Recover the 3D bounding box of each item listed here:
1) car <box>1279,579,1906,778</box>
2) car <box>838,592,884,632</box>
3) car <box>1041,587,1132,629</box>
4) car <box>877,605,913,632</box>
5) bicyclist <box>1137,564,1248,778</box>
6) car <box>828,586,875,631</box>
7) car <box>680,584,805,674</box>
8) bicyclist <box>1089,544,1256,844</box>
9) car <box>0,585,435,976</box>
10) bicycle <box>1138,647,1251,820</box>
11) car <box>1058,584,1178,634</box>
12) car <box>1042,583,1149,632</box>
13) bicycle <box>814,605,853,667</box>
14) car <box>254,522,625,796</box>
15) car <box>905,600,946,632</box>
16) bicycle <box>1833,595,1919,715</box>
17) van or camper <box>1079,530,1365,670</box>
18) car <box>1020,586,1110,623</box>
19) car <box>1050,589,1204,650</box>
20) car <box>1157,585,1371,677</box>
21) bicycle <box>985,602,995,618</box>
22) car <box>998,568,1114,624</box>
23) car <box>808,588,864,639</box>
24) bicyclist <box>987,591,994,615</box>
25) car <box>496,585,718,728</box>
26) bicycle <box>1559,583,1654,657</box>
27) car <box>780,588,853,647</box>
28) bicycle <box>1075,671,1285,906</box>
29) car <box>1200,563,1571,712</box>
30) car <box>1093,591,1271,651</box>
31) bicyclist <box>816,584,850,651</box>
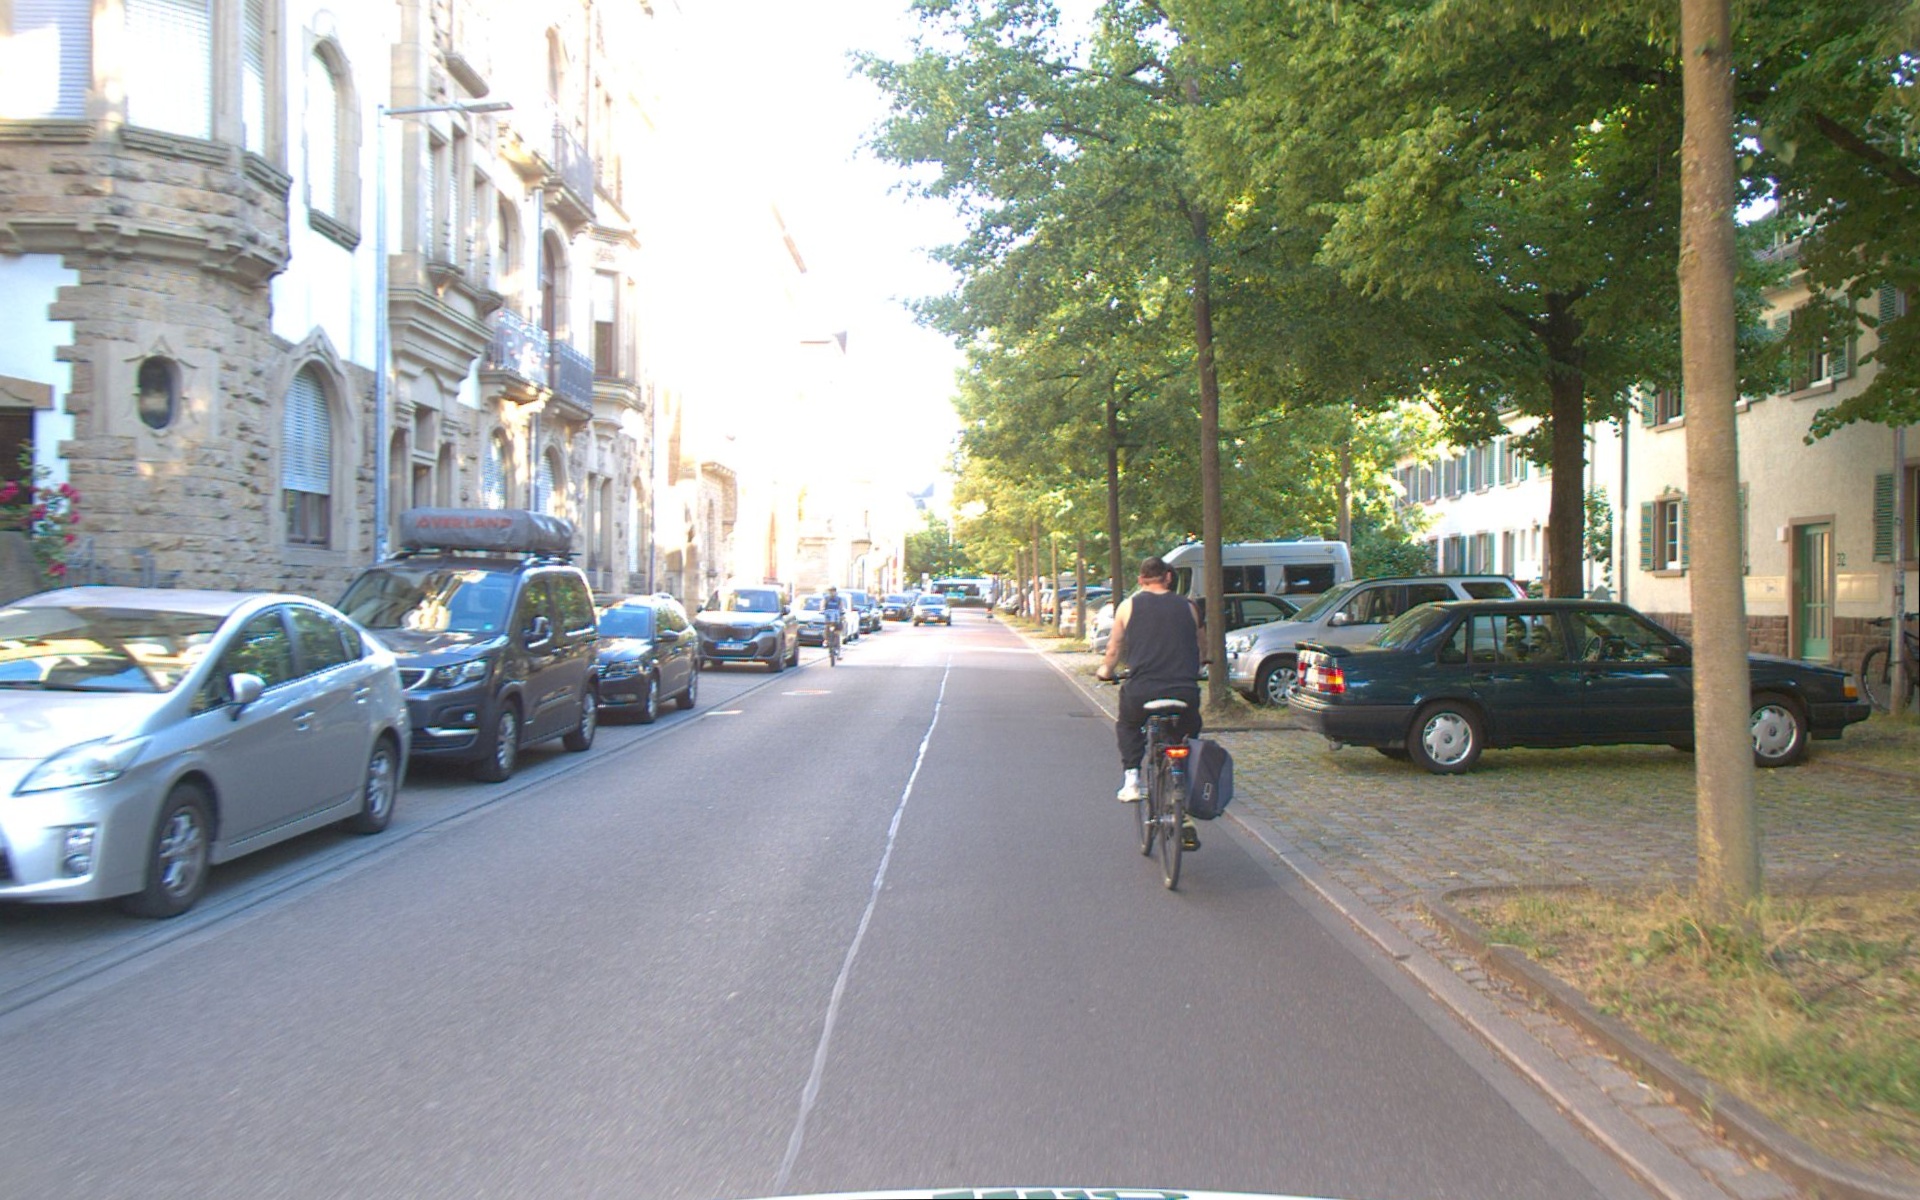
[{"bbox_3d":[5.444,0.660,14.684,4.795,1.467,1.941,-2,-1,-2],"label":"car"},{"bbox_3d":[-4.143,0.509,69.669,1.582,1.508,4.018,4,0,0],"label":"car"},{"bbox_3d":[5.893,0.378,77.484,4.155,1.828,1.855,-1,-1,1],"label":"car"},{"bbox_3d":[-3.725,1.069,95.376,1.953,1.512,3.999,0,-1,-1],"label":"car"},{"bbox_3d":[1.747,0.525,12.555,0.704,1.553,0.972,0,-1,-1],"label":"bicyclist"},{"bbox_3d":[-4.172,0.354,64.063,1.597,1.694,3.967,0,-1,-1],"label":"car"},{"bbox_3d":[-4.232,0.572,32.824,2.008,1.650,4.393,0,-1,-2],"label":"car"},{"bbox_3d":[1.150,0.494,9.117,0.693,1.553,0.970,0,-1,-8],"label":"bicyclist"},{"bbox_3d":[-4.308,0.701,8.802,1.694,1.525,4.454,1,0,-2],"label":"car"},{"bbox_3d":[1.719,0.945,12.350,0.544,1.091,1.969,0,1,0],"label":"bicycle"},{"bbox_3d":[5.640,0.347,59.547,4.155,1.676,1.855,-1,-1,1],"label":"car"},{"bbox_3d":[5.448,0.304,66.958,4.155,1.872,1.855,-1,-1,1],"label":"car"},{"bbox_3d":[-2.658,0.739,34.988,0.738,1.199,2.619,-1,1,-3],"label":"bicycle"},{"bbox_3d":[-4.347,0.424,14.628,1.929,2.009,4.496,1,0,-2],"label":"car"},{"bbox_3d":[-1.674,0.769,79.332,1.858,1.512,4.379,0,-1,-3],"label":"car"},{"bbox_3d":[9.824,0.547,16.884,0.616,1.183,1.931,0,1,-7],"label":"bicycle"},{"bbox_3d":[5.349,0.013,34.305,5.462,2.581,2.267,-2,-1,-2],"label":"van or camper"},{"bbox_3d":[5.529,0.230,87.584,4.658,1.811,1.855,-1,-1,1],"label":"car"},{"bbox_3d":[4.780,0.557,47.665,4.158,1.634,1.752,-1,-1,-3],"label":"car"},{"bbox_3d":[5.320,0.542,29.223,3.429,1.498,1.751,-1,-1,-1],"label":"car"},{"bbox_3d":[1.708,0.576,94.418,0.530,0.842,1.919,0,-1,0],"label":"bicycle"},{"bbox_3d":[6.012,-0.213,104.294,7.181,3.340,2.223,-1,-1,1],"label":"car"},{"bbox_3d":[-4.068,0.446,54.651,1.461,1.543,3.775,4,0,0],"label":"car"},{"bbox_3d":[1.735,0.187,94.426,0.408,1.374,0.430,0,-1,0],"label":"bicyclist"},{"bbox_3d":[-4.329,0.672,21.012,1.693,1.602,4.709,0,-1,1],"label":"car"},{"bbox_3d":[12.849,0.376,32.937,0.786,1.424,1.998,0,0,-12],"label":"bicycle"},{"bbox_3d":[-4.202,0.506,48.957,1.719,1.543,4.114,4,0,0],"label":"car"},{"bbox_3d":[1.152,0.967,9.121,0.683,1.091,1.965,0,-1,-7],"label":"bicycle"},{"bbox_3d":[5.576,0.455,22.056,4.385,1.698,1.942,-3,1,-2],"label":"car"},{"bbox_3d":[5.708,0.543,42.880,4.409,1.478,1.816,-1,-1,1],"label":"car"},{"bbox_3d":[-2.649,0.350,34.644,0.652,1.368,1.059,-1,1,-3],"label":"bicyclist"}]
